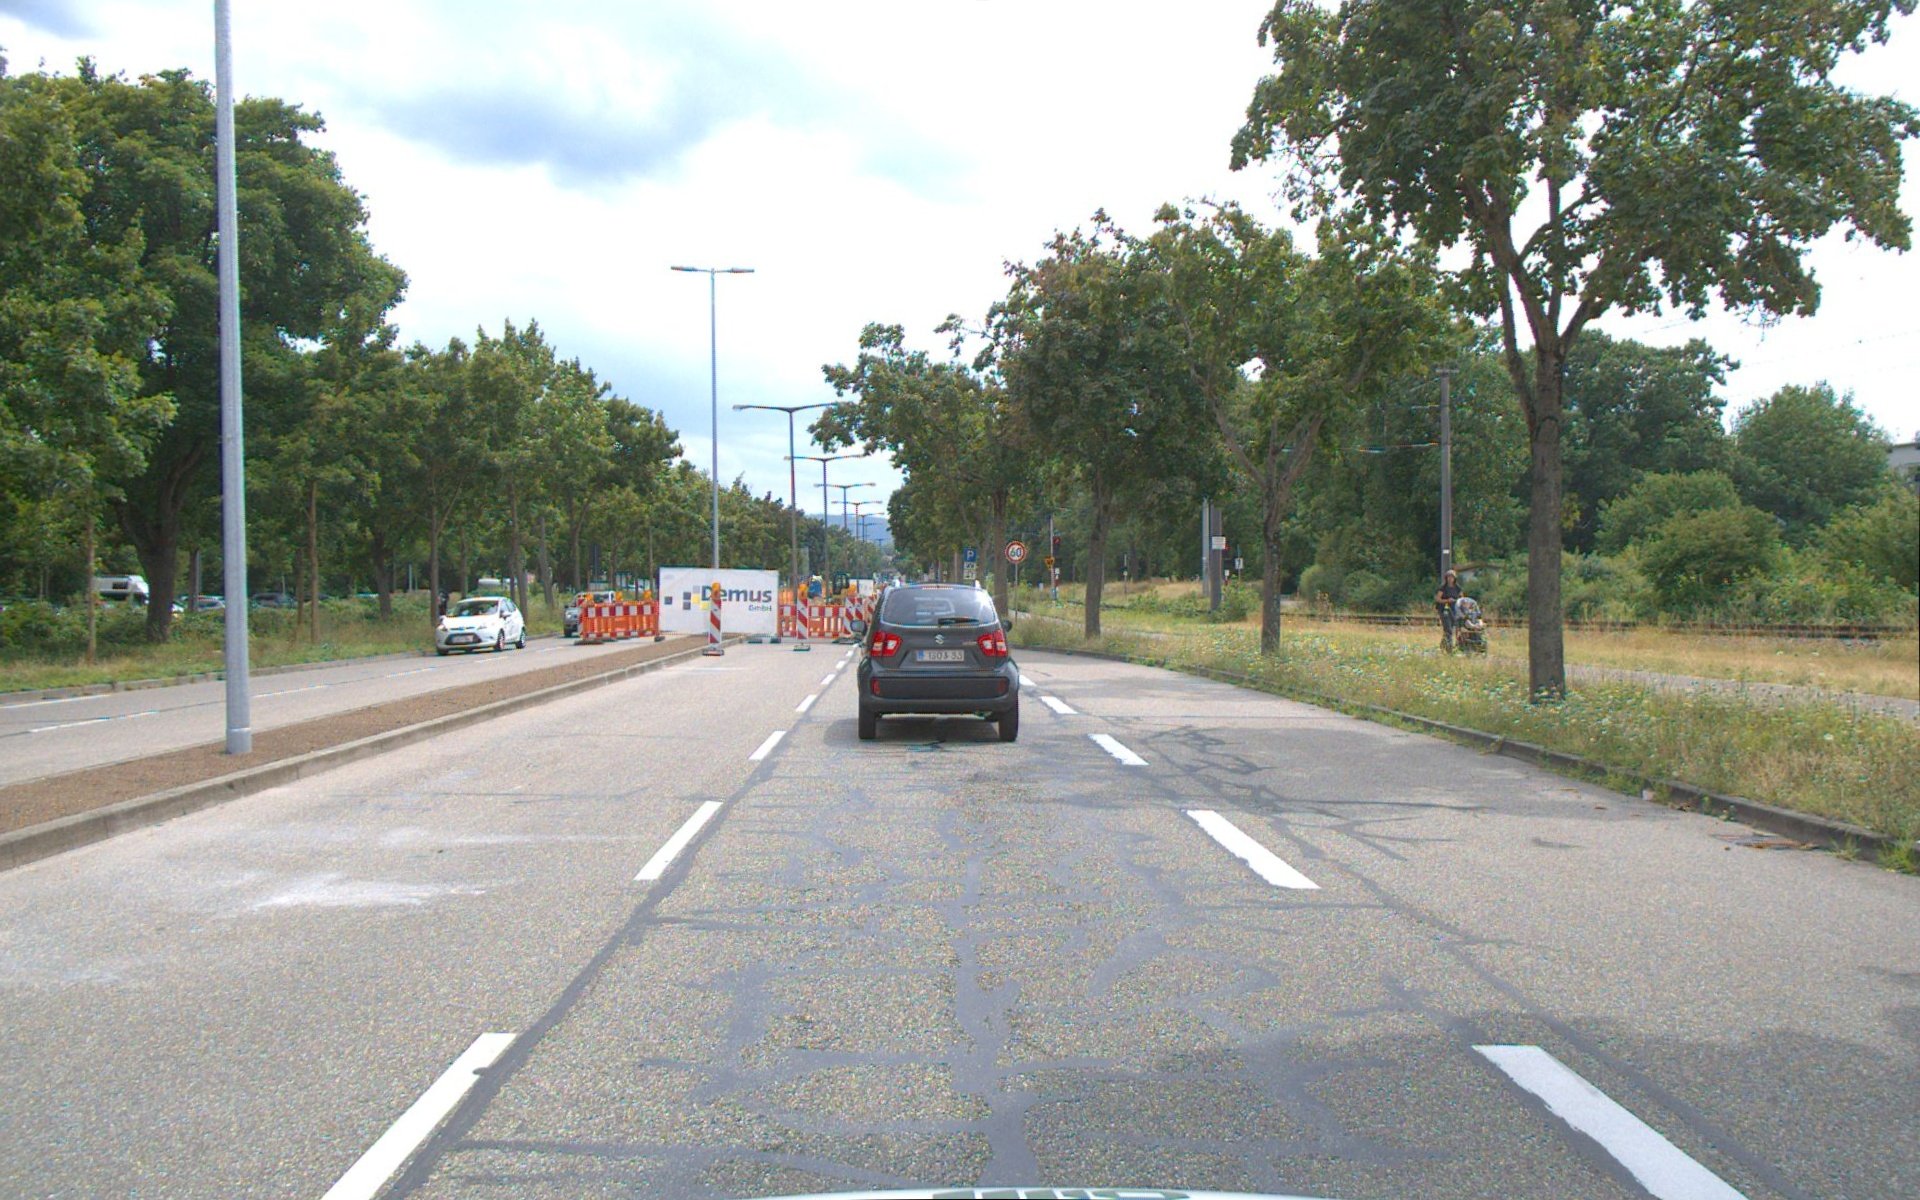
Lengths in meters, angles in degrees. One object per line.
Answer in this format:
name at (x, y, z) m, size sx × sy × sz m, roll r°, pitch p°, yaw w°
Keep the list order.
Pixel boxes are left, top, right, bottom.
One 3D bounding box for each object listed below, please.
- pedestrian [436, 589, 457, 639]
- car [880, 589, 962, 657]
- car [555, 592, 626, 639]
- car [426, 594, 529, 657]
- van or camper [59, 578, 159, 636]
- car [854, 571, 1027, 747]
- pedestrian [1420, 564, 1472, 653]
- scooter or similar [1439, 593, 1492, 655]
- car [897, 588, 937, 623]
pedestrian at (-19.388, 0.529, 62.500) m, size 0.681 × 1.870 × 0.647 m, roll -1°, pitch 1°, yaw -23°
car at (-0.980, 0.516, 39.499) m, size 1.732 × 1.489 × 3.997 m, roll -1°, pitch 1°, yaw -5°
car at (-13.009, 0.519, 58.406) m, size 1.669 × 1.502 × 3.999 m, roll -2°, pitch 1°, yaw -2°
car at (-12.802, 0.654, 44.113) m, size 1.656 × 1.502 × 3.999 m, roll -2°, pitch 1°, yaw -2°
van or camper at (-42.263, 0.354, 82.212) m, size 3.906 × 2.804 × 1.926 m, roll -1°, pitch 1°, yaw -2°
car at (-0.279, 0.549, 18.018) m, size 1.669 × 1.697 × 3.998 m, roll 0°, pitch 1°, yaw -3°
pedestrian at (9.574, 0.166, 32.602) m, size 0.677 × 1.725 × 0.933 m, roll -1°, pitch 1°, yaw -6°
scooter or similar at (9.670, 0.457, 31.672) m, size 0.668 × 1.149 × 0.933 m, roll -1°, pitch 1°, yaw -6°
car at (-2.004, 0.237, 78.135) m, size 1.757 × 1.589 × 4.000 m, roll -1°, pitch 1°, yaw 0°
